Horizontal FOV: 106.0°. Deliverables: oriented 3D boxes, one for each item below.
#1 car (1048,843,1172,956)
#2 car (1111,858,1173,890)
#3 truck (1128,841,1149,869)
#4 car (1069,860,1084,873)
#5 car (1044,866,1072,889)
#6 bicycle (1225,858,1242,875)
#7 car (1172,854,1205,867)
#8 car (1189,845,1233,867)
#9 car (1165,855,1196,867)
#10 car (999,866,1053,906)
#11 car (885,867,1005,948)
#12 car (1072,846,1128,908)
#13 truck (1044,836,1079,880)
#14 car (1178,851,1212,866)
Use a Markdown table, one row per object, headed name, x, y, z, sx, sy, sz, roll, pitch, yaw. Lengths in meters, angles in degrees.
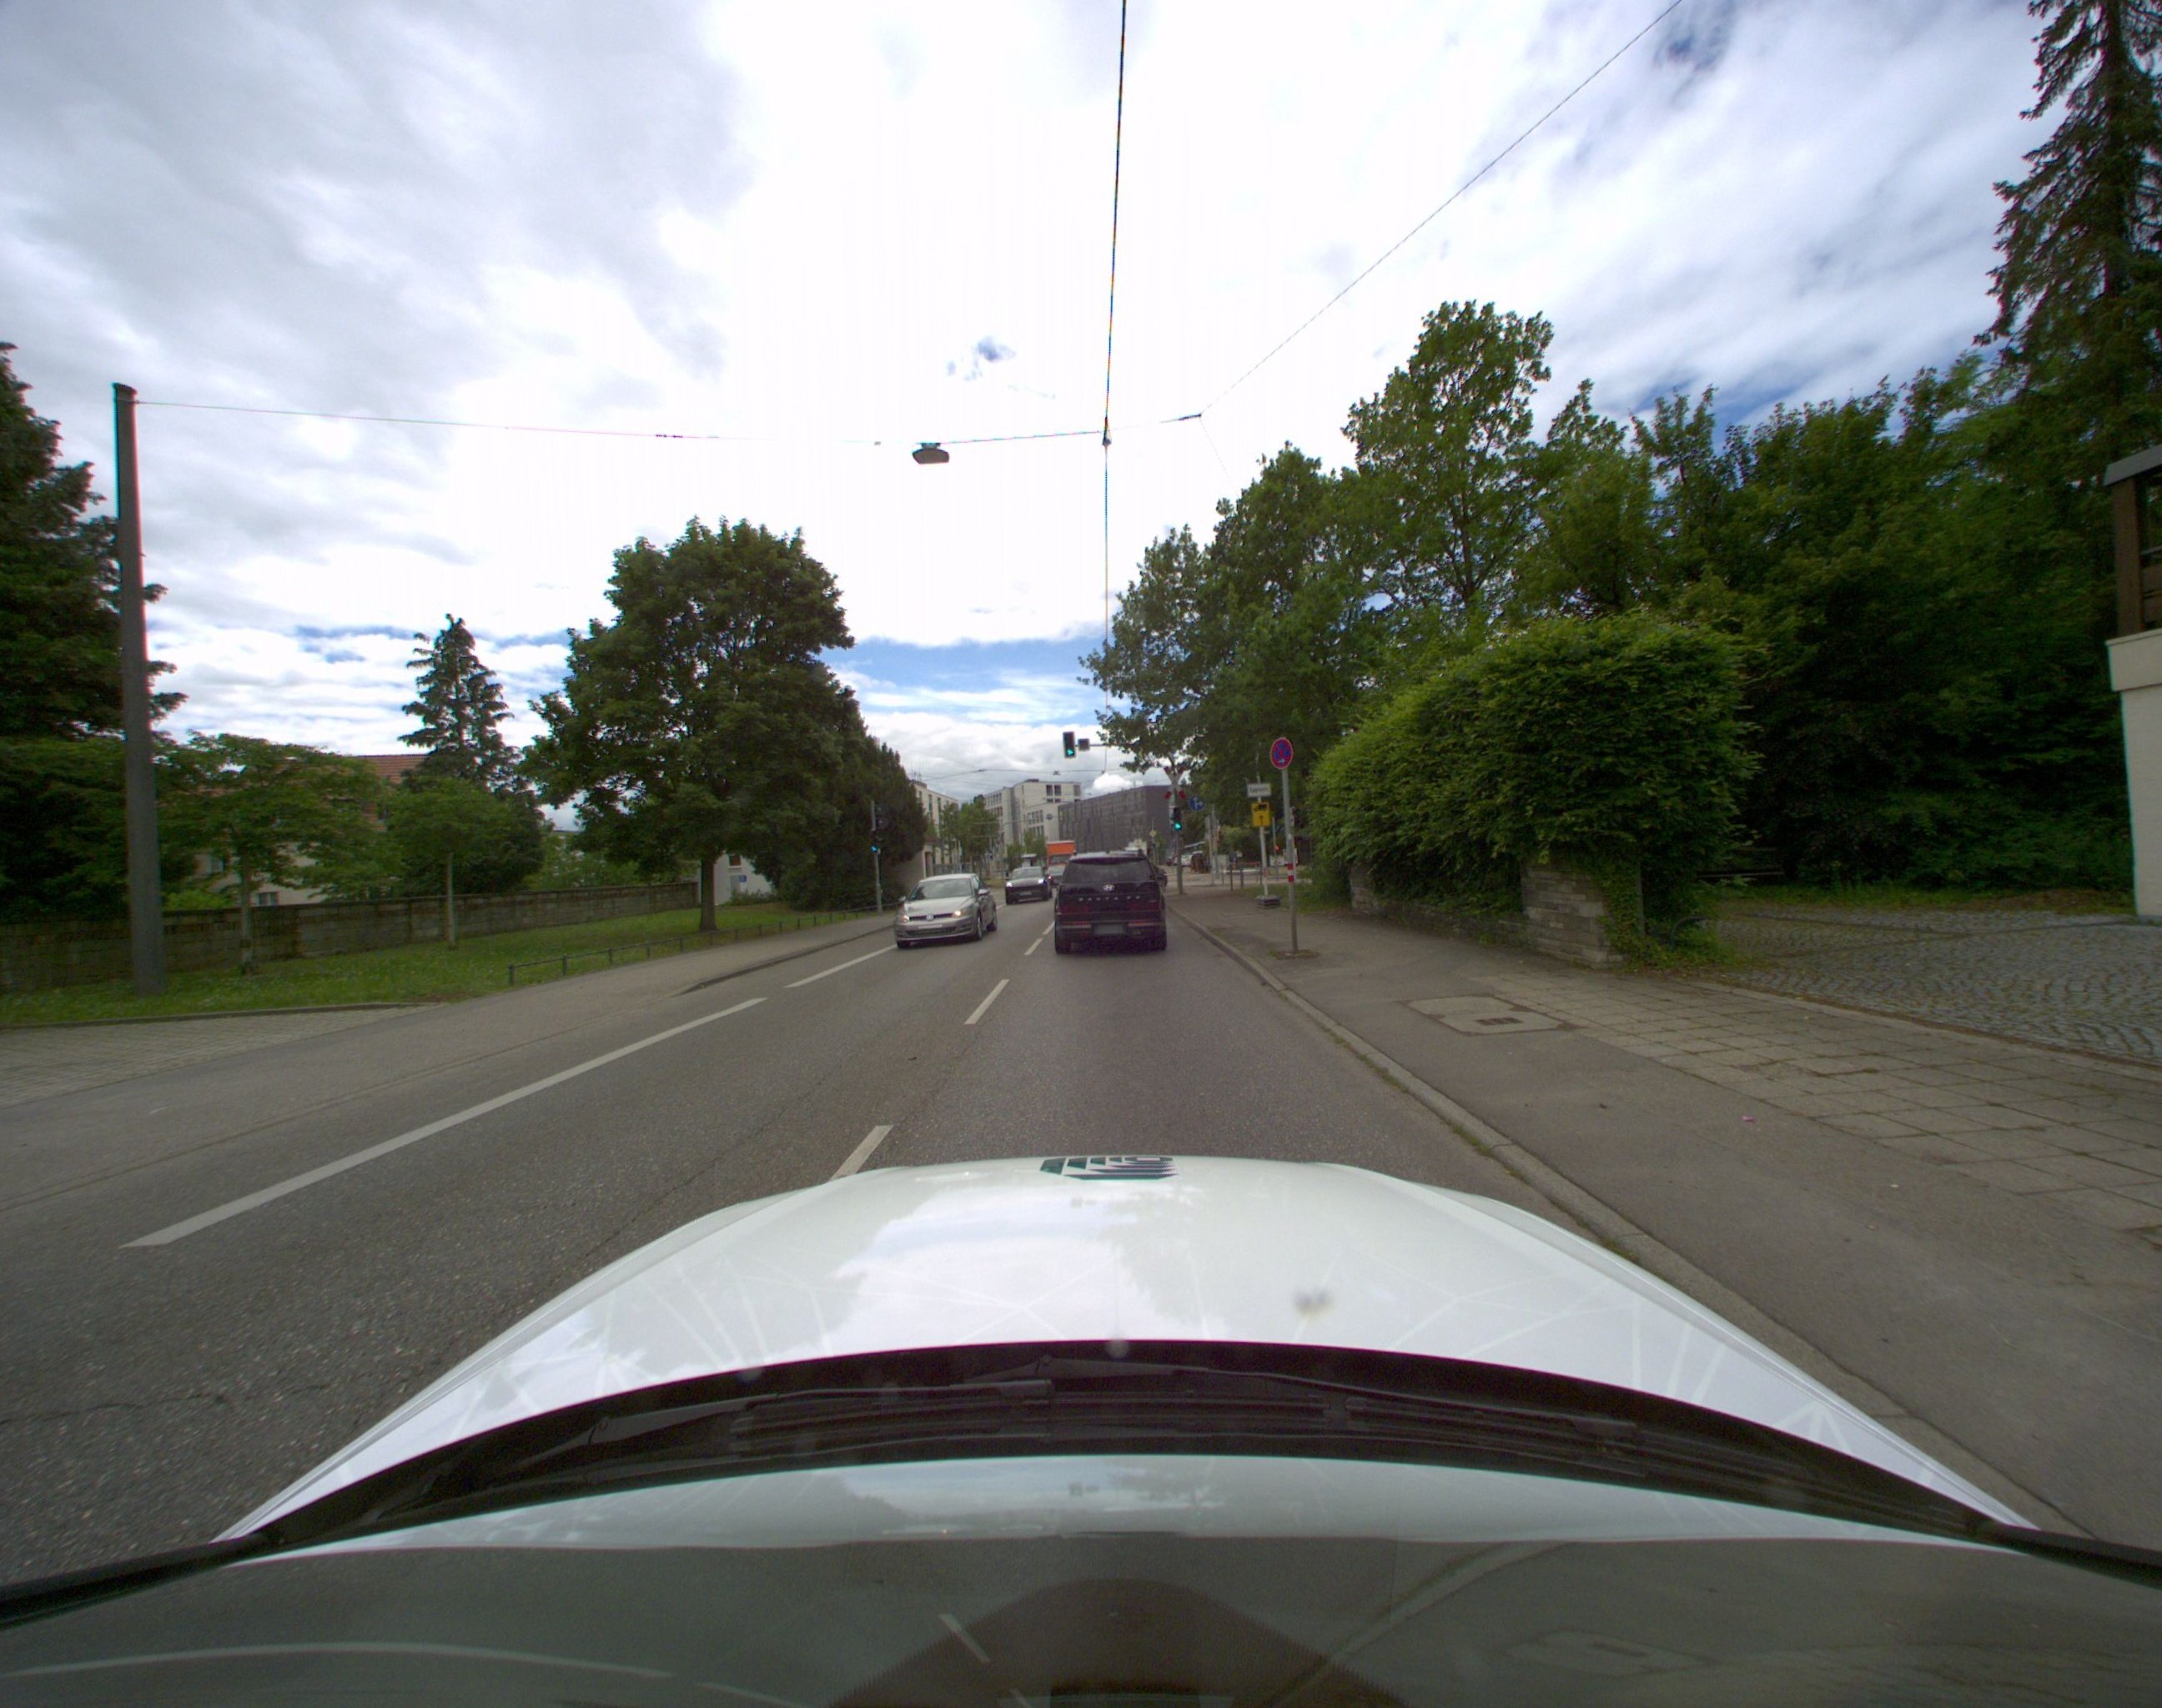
| name | x | y | z | sx | sy | sz | roll | pitch | yaw |
| --- | --- | --- | --- | --- | --- | --- | --- | --- | --- |
| car | 0.437 | 0.729 | 14.997 | 1.909 | 1.725 | 4.169 | -2 | 0 | -1 |
| car | 3.175 | 0.971 | 41.441 | 1.977 | 1.463 | 4.541 | -3 | -1 | 20 |
| truck | 7.653 | 0.109 | 109.285 | 2.562 | 3.525 | 7.817 | -4 | 0 | 3 |
| car | -0.584 | 1.755 | 113.560 | 1.781 | 1.661 | 4.278 | -4 | -1 | 2 |
| car | -1.585 | 1.643 | 57.146 | 1.658 | 1.449 | 3.828 | -3 | -1 | 1 |
| bicycle | 11.015 | 0.898 | 58.902 | 0.548 | 1.138 | 1.872 | -3 | 3 | -11 |
| car | 13.571 | 0.851 | 102.913 | 3.814 | 1.474 | 1.781 | -1 | -2 | -29 |
| car | 12.002 | 0.177 | 74.907 | 1.827 | 1.748 | 4.726 | -4 | 0 | 39 |
| car | 13.224 | 0.961 | 108.321 | 3.808 | 1.474 | 1.784 | -1 | -2 | -24 |
| car | -2.492 | 1.433 | 37.847 | 1.932 | 1.531 | 4.528 | -6 | -1 | 2 |
| car | -2.929 | 1.109 | 18.436 | 1.718 | 1.462 | 4.157 | -4 | -1 | 3 |
| car | 0.702 | 0.809 | 30.876 | 1.849 | 2.033 | 4.438 | -4 | 0 | 1 |
| truck | -1.790 | 0.418 | 78.522 | 2.760 | 3.718 | 8.467 | -6 | -1 | 0 |
| car | 13.535 | 0.564 | 96.937 | 3.658 | 1.435 | 1.578 | -5 | -2 | -26 |
